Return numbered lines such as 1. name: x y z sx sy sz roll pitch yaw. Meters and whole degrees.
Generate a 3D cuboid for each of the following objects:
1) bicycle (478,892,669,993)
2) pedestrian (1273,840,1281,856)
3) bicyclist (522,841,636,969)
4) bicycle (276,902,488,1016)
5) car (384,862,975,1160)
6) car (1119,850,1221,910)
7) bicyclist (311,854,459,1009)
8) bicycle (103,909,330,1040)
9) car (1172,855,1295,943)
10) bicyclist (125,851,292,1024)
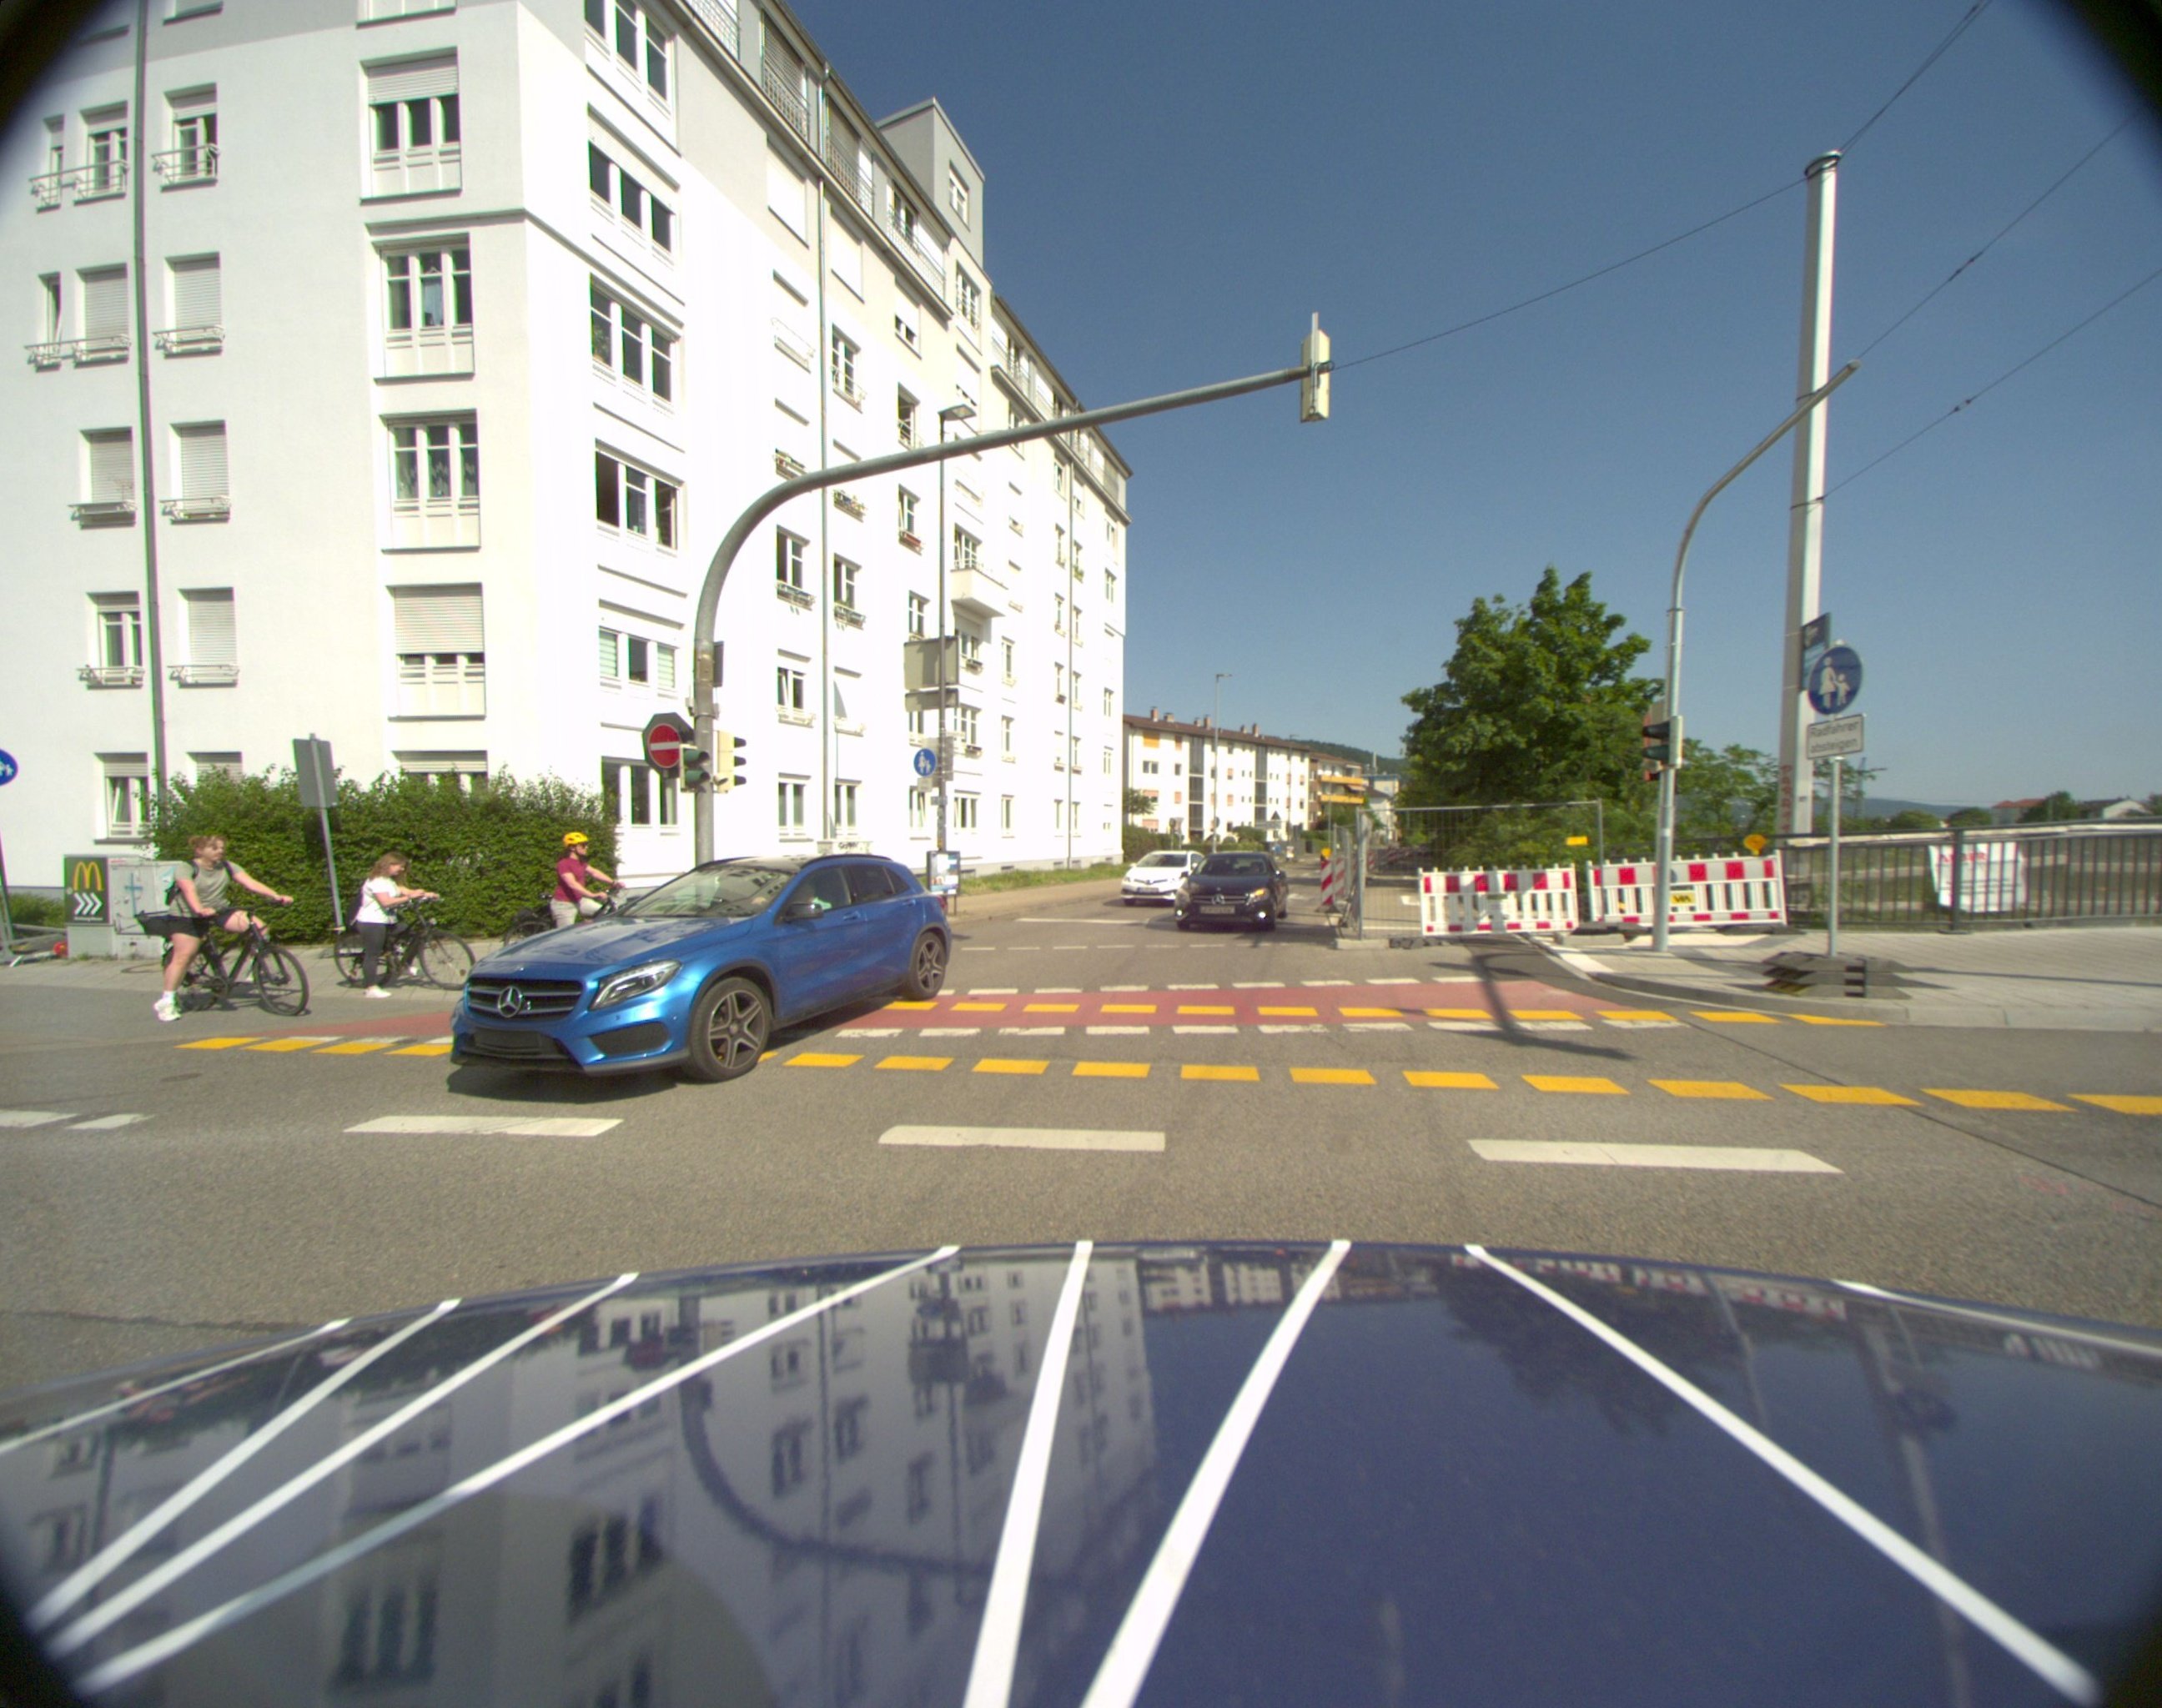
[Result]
1. bicycle: -6.105 1.046 9.210 1.814 1.093 0.604 -1 3 -4
2. pedestrian: 18.753 -0.556 72.594 0.606 1.501 0.772 0 3 26
3. bicyclist: -6.048 0.588 9.193 0.917 1.470 0.597 -1 3 -4
4. bicycle: -7.588 1.116 8.287 1.783 1.094 0.628 0 6 8
5. car: -2.695 0.891 6.523 1.673 1.472 4.556 -1 1 18
6. car: 2.572 0.641 20.940 1.698 1.404 4.492 -1 1 21
7. bicyclist: -7.517 0.809 8.241 0.916 1.571 0.623 0 6 8
8. bicycle: -8.390 1.134 7.389 1.783 1.093 0.619 0 3 12
9. car: 3.149 0.741 14.950 1.700 1.400 4.629 0 1 20
10. bicyclist: -8.464 0.779 7.390 0.916 1.581 0.624 0 3 12
